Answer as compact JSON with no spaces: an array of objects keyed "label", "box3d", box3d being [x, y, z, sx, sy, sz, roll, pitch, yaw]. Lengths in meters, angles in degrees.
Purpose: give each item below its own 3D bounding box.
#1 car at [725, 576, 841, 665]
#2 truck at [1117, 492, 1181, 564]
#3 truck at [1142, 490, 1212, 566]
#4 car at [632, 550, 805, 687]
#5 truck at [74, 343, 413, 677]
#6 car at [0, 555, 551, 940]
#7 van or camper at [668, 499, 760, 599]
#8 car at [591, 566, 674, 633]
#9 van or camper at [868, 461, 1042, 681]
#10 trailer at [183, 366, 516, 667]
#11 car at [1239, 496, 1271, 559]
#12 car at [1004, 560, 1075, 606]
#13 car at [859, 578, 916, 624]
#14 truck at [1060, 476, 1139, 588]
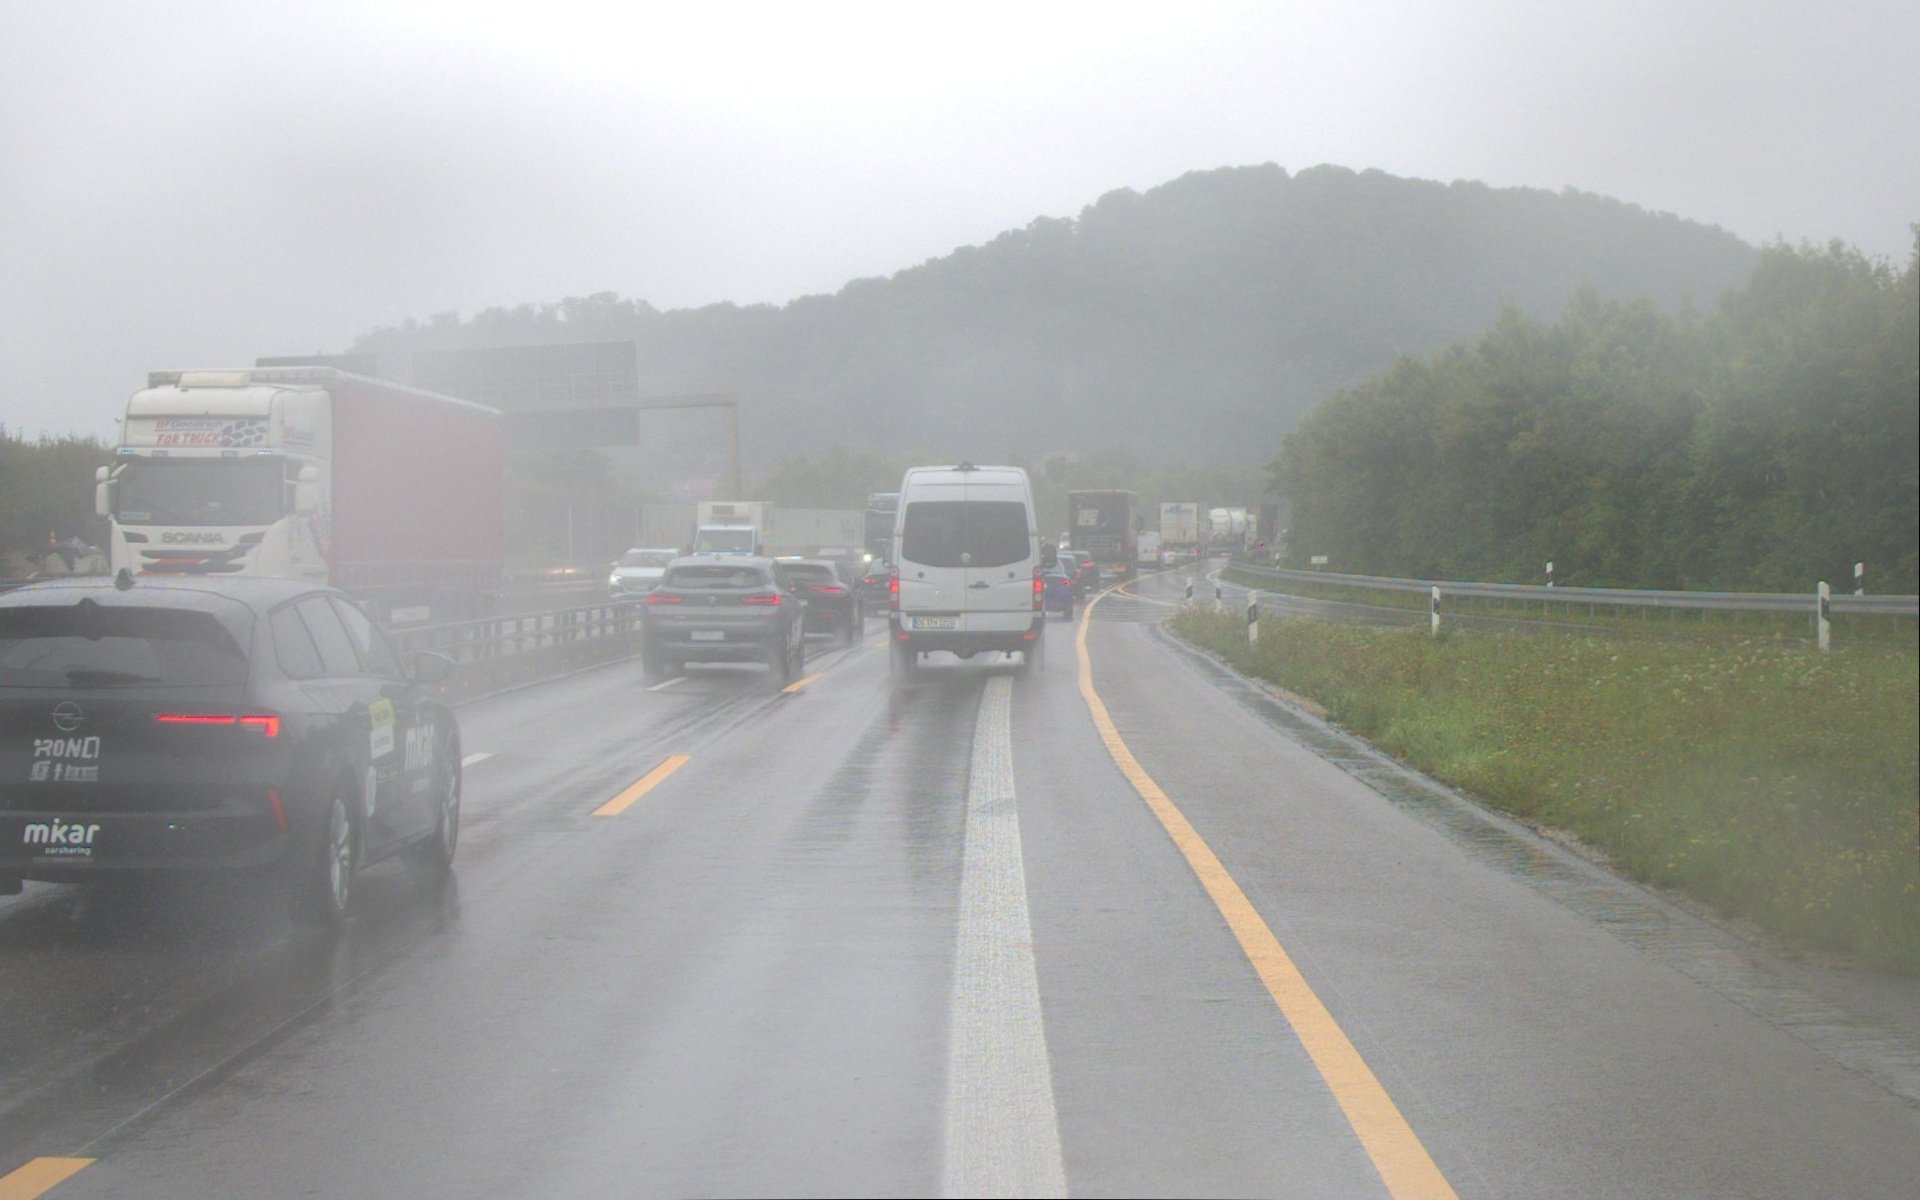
[{"label":"car","box3d":[-3.083,0.339,60.396,1.852,1.495,4.000,0,1,0]},{"label":"truck","box3d":[10.499,-3.972,192.077,3.321,3.749,9.906,1,0,2]},{"label":"truck","box3d":[14.284,-4.679,225.717,3.929,4.768,9.904,1,0,7]},{"label":"car","box3d":[-3.016,0.208,43.589,1.867,1.653,3.988,0,1,1]},{"label":"truck","box3d":[-9.754,-1.186,47.598,3.008,4.257,6.800,-1,0,2]},{"label":"car","box3d":[-3.066,0.527,15.239,1.939,1.422,4.760,1,1,0]},{"label":"van or camper","box3d":[-7.796,-1.592,109.571,2.293,3.031,6.699,1,0,1]},{"label":"car","box3d":[-8.558,-0.020,90.048,1.636,1.662,4.543,1,0,1]},{"label":"van or camper","box3d":[-0.064,-0.383,44.666,2.139,2.712,4.648,0,1,0]},{"label":"trailer","box3d":[-9.514,-1.254,55.070,2.976,4.280,11.059,-1,0,2]},{"label":"car","box3d":[19.758,-4.827,230.223,2.058,4.177,6.745,0,1,4]},{"label":"car","box3d":[1.874,-0.419,81.525,1.384,1.074,3.123,0,1,-4]},{"label":"car","box3d":[-1.742,0.006,82.882,1.262,1.074,3.254,0,1,1]},{"label":"truck","box3d":[6.252,-2.984,154.219,3.321,4.768,9.906,1,0,2]}]
